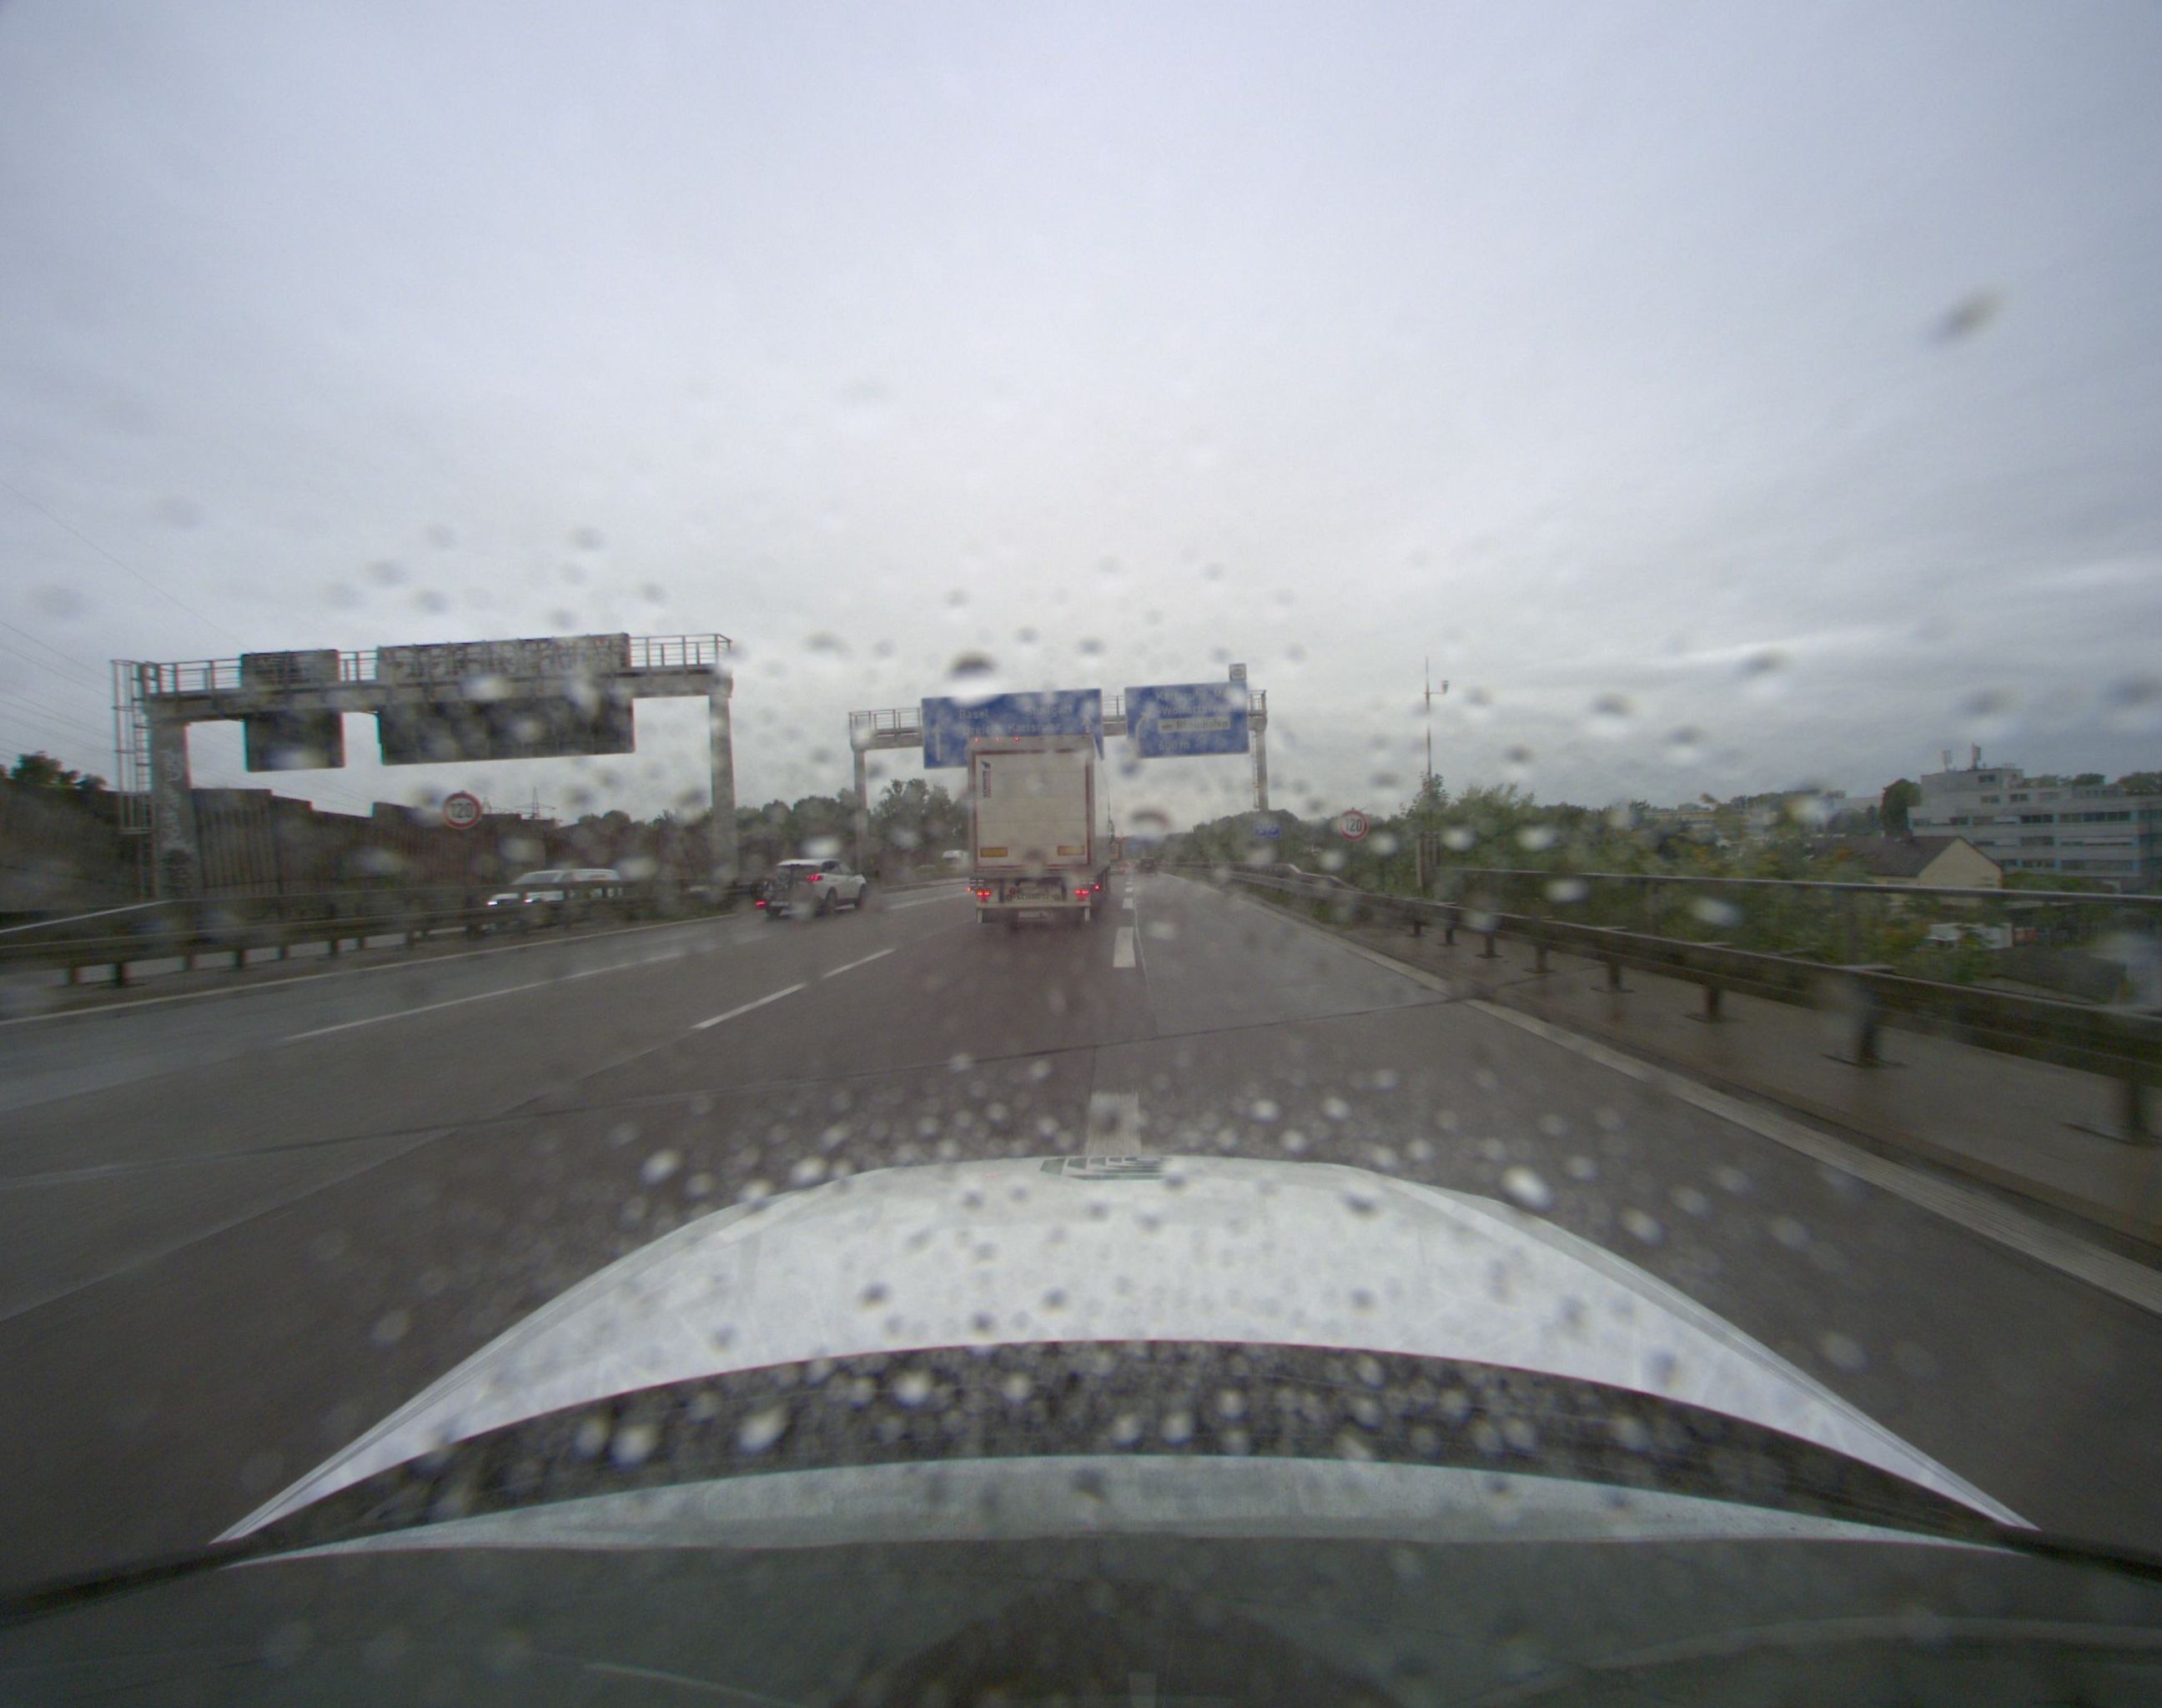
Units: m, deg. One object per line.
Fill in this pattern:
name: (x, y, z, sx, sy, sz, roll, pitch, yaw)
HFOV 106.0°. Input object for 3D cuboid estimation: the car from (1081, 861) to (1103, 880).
car: (1.082, 1.500, 75.898, 1.886, 1.723, 4.003, 0, -1, 3)

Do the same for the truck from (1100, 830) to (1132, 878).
truck: (4.090, 0.063, 93.313, 3.519, 5.183, 9.901, 0, -1, 3)

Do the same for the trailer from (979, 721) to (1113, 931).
trailer: (-0.400, -0.585, 23.592, 2.332, 4.157, 14.840, 0, 0, 3)

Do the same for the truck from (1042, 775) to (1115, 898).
truck: (0.034, -0.607, 30.800, 2.332, 4.157, 6.352, 0, 0, 3)

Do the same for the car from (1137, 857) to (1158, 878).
car: (6.181, 1.226, 75.300, 1.888, 1.949, 4.005, 0, -1, 5)

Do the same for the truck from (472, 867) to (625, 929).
truck: (-19.369, 1.534, 30.020, 1.986, 1.930, 5.252, -2, 0, 2)

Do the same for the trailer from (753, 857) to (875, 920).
trailer: (-7.681, 0.934, 23.935, 1.807, 1.624, 4.572, -1, 0, 3)
